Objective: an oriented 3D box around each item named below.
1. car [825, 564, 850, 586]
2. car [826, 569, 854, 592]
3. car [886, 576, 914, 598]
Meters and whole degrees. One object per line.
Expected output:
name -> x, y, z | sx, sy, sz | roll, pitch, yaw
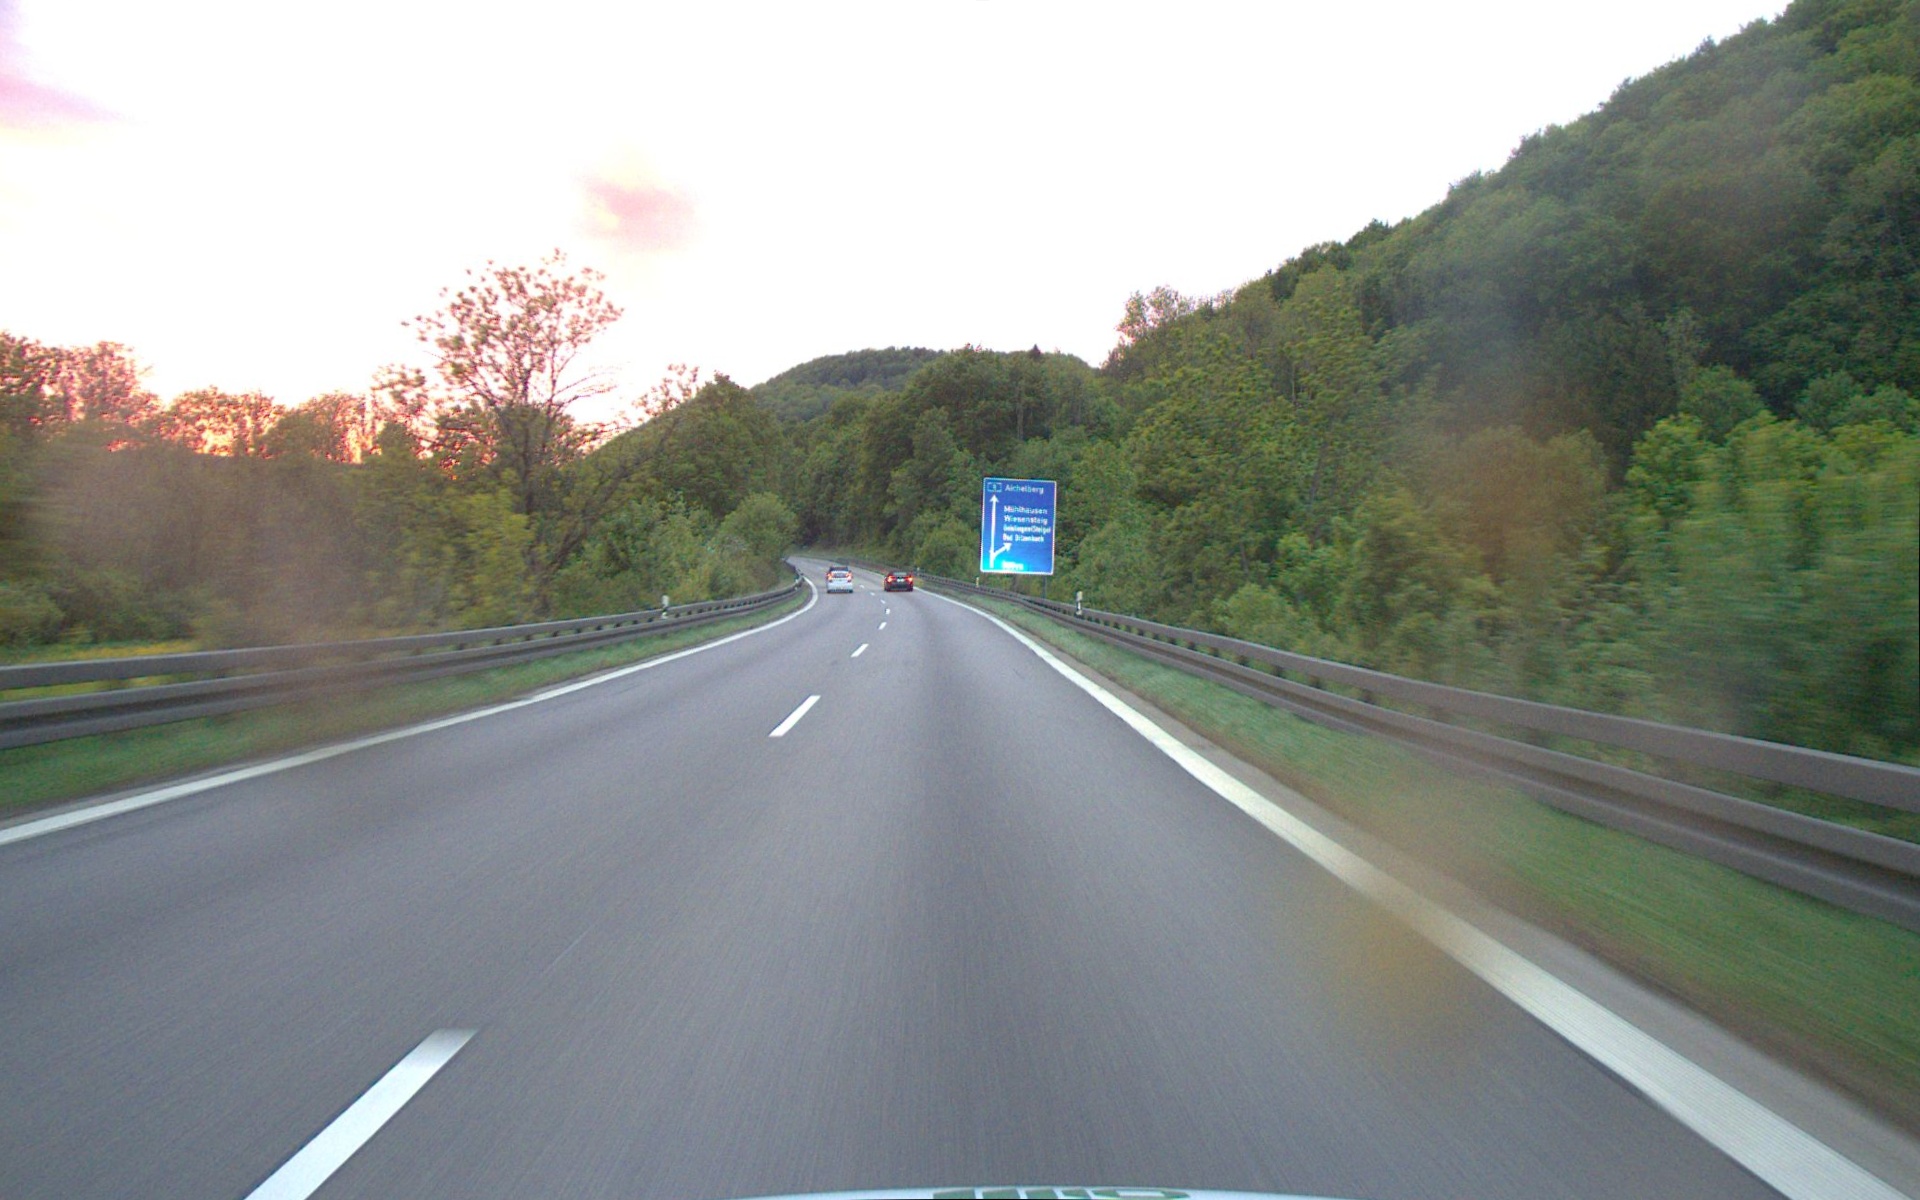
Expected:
car -> -9.254, -1.894, 125.138 | 1.683, 1.663, 3.999 | 0, 0, -1
car -> -8.153, -1.312, 112.517 | 1.683, 1.527, 3.999 | 0, 1, -1
car -> -4.192, -0.931, 115.785 | 1.840, 1.492, 3.999 | 0, 1, -1
